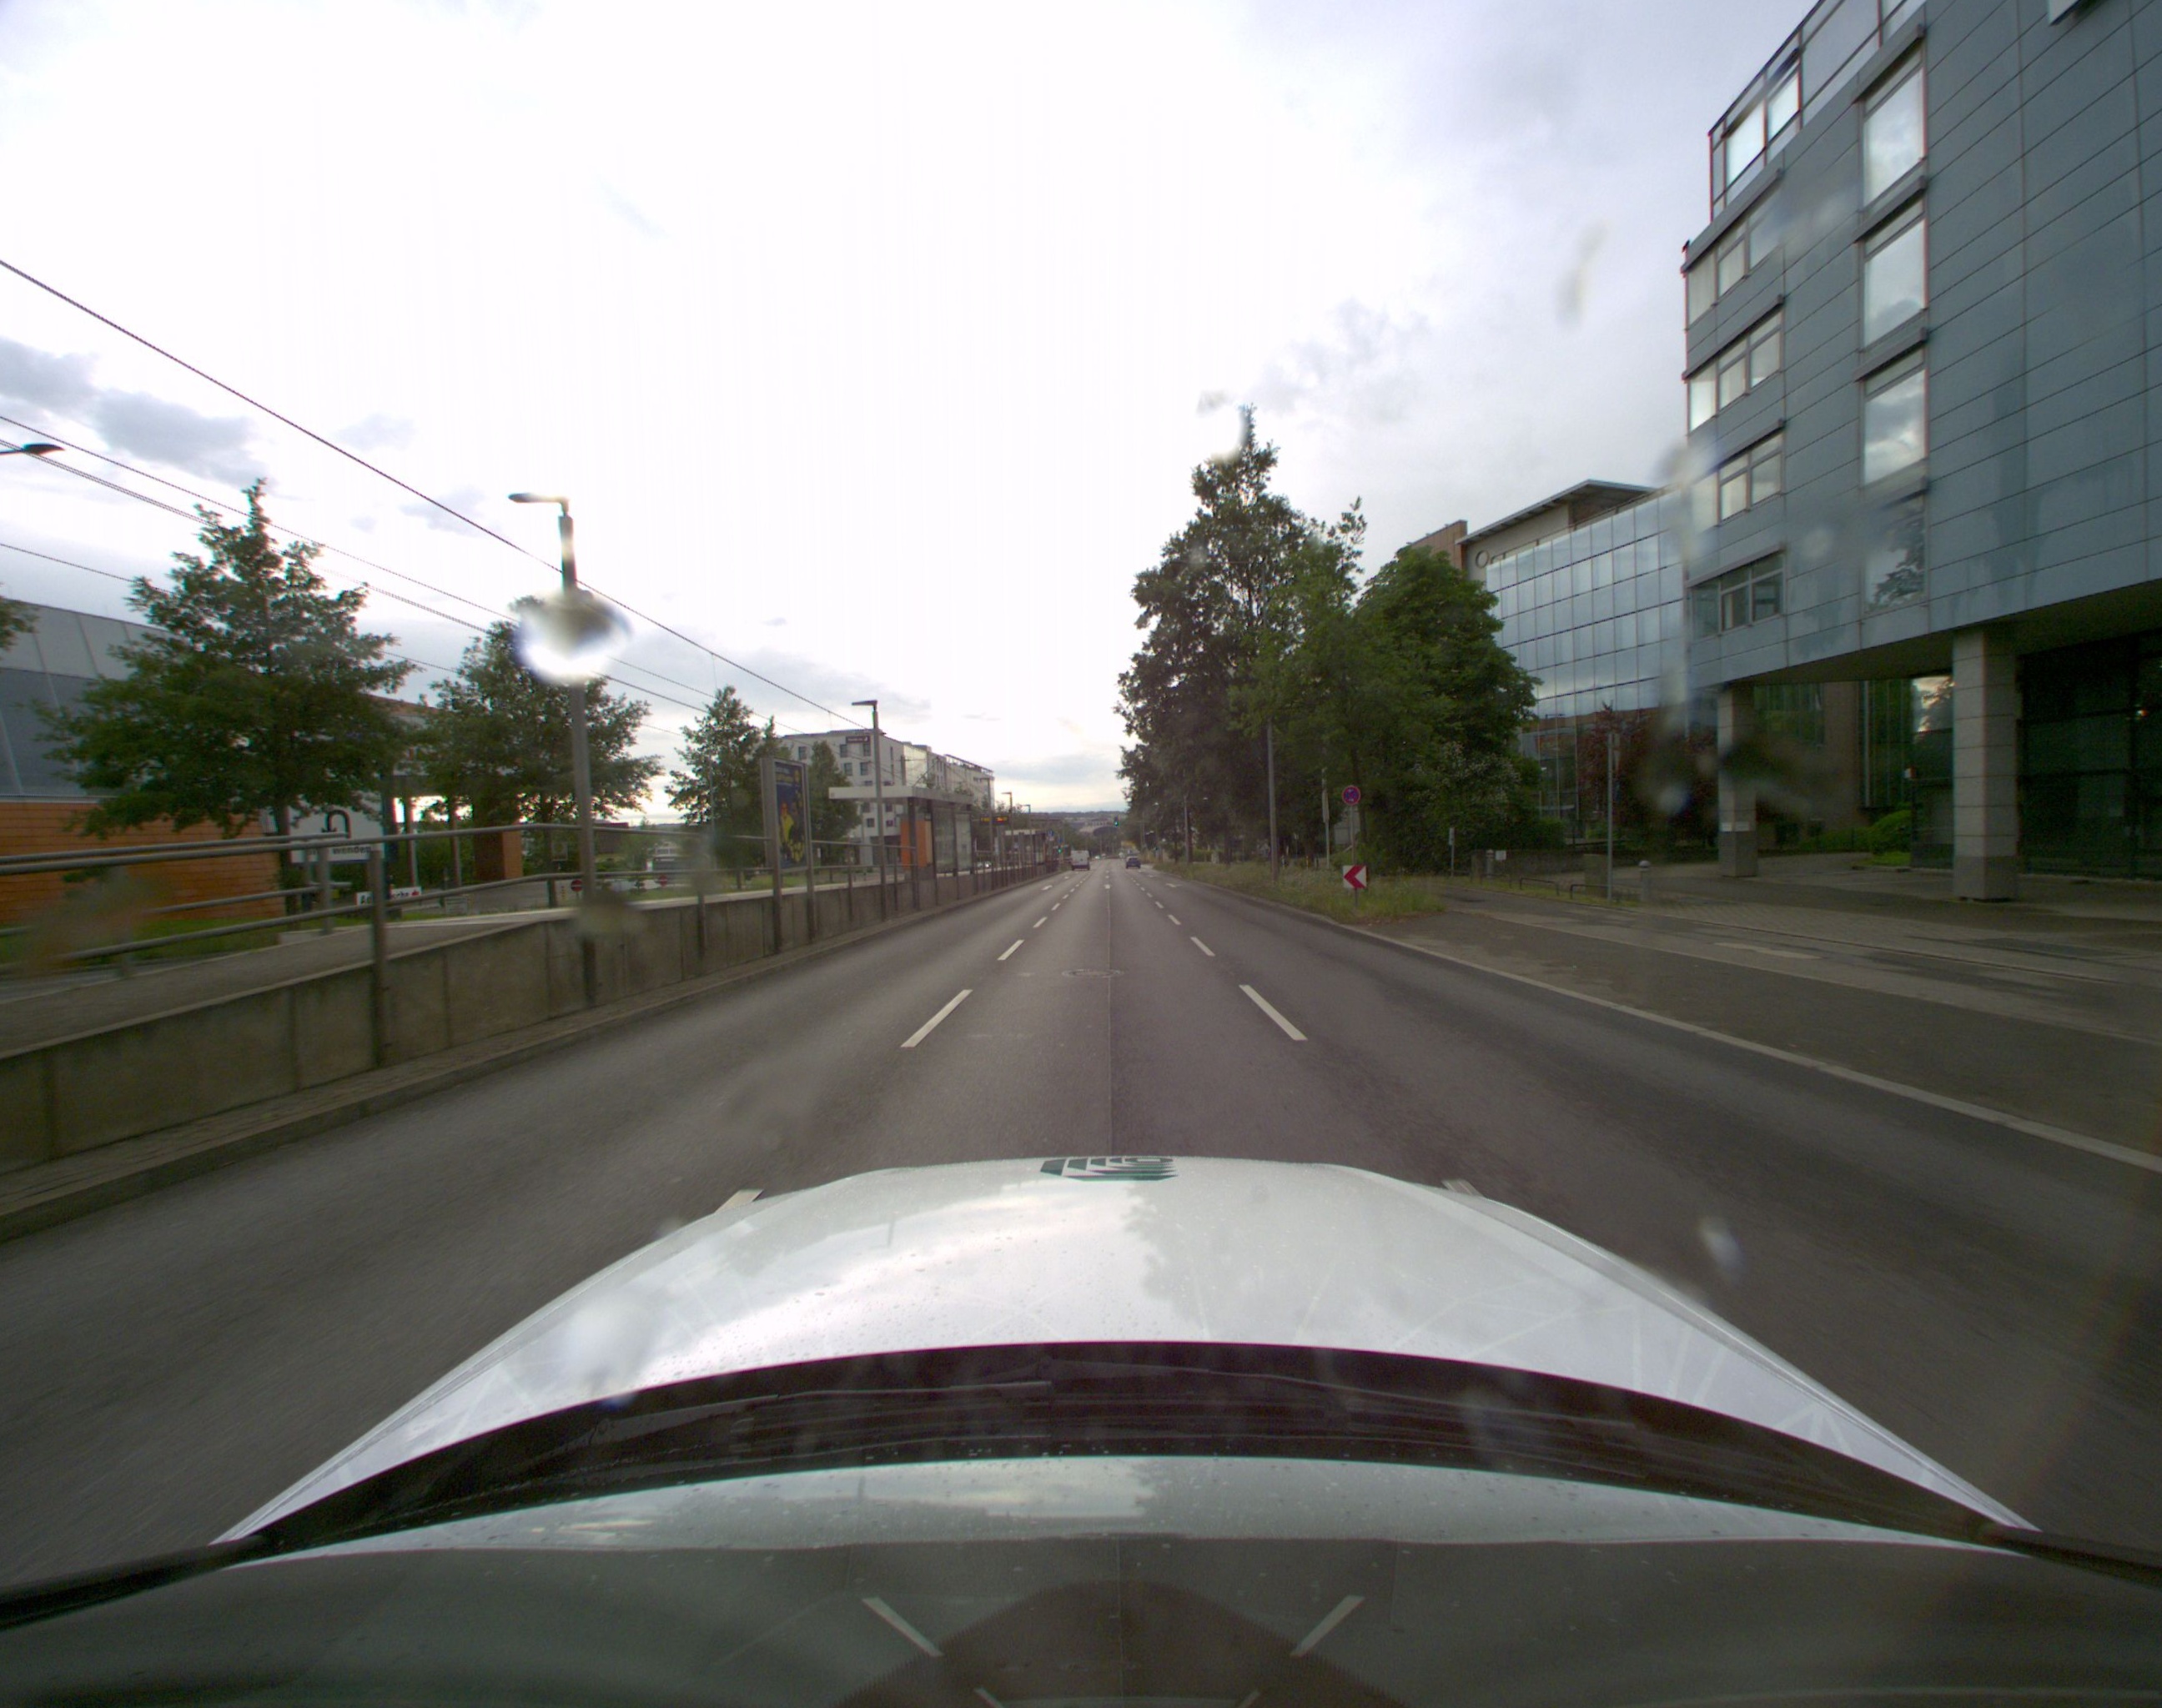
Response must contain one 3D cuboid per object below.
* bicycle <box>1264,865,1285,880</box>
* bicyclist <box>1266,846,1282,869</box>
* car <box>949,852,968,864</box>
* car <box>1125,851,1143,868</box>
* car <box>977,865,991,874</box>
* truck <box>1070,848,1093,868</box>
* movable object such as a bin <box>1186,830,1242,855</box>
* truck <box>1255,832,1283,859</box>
[{"bbox_3d":[10.606,1.020,44.757,0.665,0.809,2.319,-1,-1,2],"label":"bicycle"},{"bbox_3d":[10.600,0.191,44.810,0.653,1.288,1.220,0,0,2],"label":"bicyclist"},{"bbox_3d":[-18.040,0.588,120.158,1.986,1.774,4.391,-2,0,2],"label":"car"},{"bbox_3d":[6.521,0.680,99.859,1.984,2.014,3.940,-1,-1,5],"label":"car"},{"bbox_3d":[-16.653,2.648,139.587,1.722,1.423,3.780,-2,0,1],"label":"car"},{"bbox_3d":[0.085,0.505,93.917,2.350,2.262,5.310,-1,-1,3],"label":"truck"},{"bbox_3d":[30.618,-2.644,187.944,12.093,5.261,3.791,-3,-1,2],"label":"movable object such as a bin"},{"bbox_3d":[18.455,-0.815,80.027,1.741,2.518,3.997,-1,-1,-1],"label":"truck"}]
